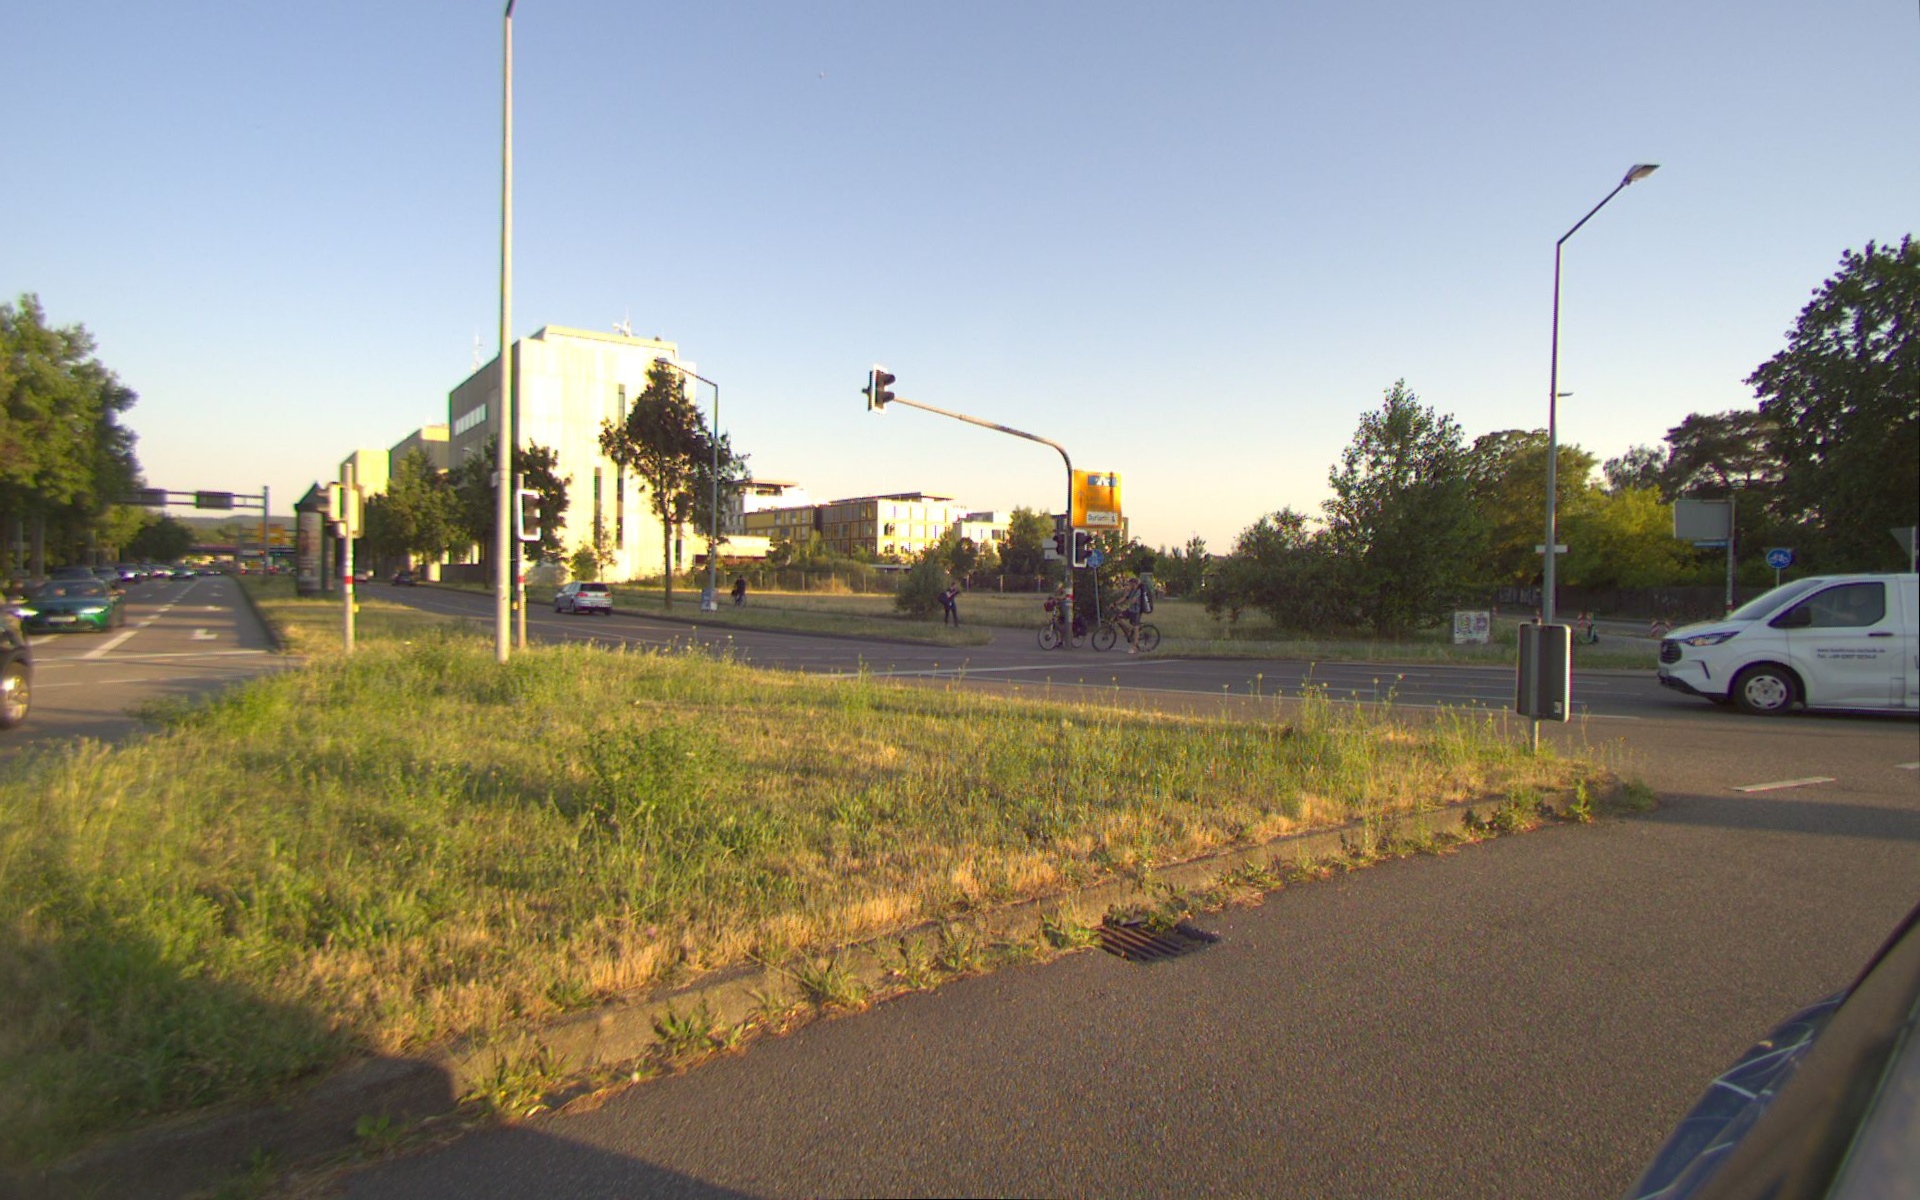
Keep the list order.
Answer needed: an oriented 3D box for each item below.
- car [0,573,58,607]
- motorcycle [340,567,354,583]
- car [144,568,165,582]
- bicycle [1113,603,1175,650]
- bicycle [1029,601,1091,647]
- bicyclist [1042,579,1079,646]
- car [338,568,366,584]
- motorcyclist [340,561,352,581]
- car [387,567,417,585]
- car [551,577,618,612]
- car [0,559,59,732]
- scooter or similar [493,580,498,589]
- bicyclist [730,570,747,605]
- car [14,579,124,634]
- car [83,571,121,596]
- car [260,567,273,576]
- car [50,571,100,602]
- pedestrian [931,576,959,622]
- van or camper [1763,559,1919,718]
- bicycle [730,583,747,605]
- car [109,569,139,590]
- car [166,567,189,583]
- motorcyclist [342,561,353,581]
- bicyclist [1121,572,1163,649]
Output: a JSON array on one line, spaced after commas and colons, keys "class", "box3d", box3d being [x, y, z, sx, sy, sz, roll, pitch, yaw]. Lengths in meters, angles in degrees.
[{"class": "car", "box3d": [-37.982, -0.421, 41.148, 1.589, 1.325, 3.716, -1, 2, -36]}, {"class": "motorcycle", "box3d": [-44.776, -1.844, 73.917, 0.548, 1.114, 2.158, 0, 1, -39]}, {"class": "car", "box3d": [-86.331, -2.651, 108.497, 1.589, 1.471, 3.716, -1, 2, -36]}, {"class": "bicycle", "box3d": [4.775, 0.667, 26.209, 1.894, 1.098, 0.456, -2, 2, -40]}, {"class": "bicycle", "box3d": [2.689, 0.633, 27.177, 1.894, 1.098, 0.456, -3, 3, -40]}, {"class": "bicyclist", "box3d": [2.697, 0.318, 27.153, 0.757, 1.722, 0.640, -3, 3, -40]}, {"class": "car", "box3d": [-58.647, -2.312, 97.600, 1.770, 1.440, 4.447, 1, 1, -37]}, {"class": "motorcyclist", "box3d": [-45.017, -2.136, 74.208, 0.676, 1.434, 0.714, 0, 1, -39]}, {"class": "car", "box3d": [-50.337, -2.166, 91.298, 1.770, 1.482, 3.998, 1, 1, -37]}, {"class": "car", "box3d": [-16.973, -0.279, 45.631, 1.857, 1.499, 4.051, 0, 1, -35]}, {"class": "car", "box3d": [-9.499, 0.459, 8.389, 1.686, 1.633, 4.145, -1, 1, -21]}, {"class": "scooter or similar", "box3d": [-46.362, -1.537, 100.959, 0.242, 0.925, 1.039, 1, 1, -37]}, {"class": "bicyclist", "box3d": [-11.422, -0.634, 52.261, 0.527, 1.765, 0.843, 1, 1, -38]}, {"class": "car", "box3d": [-23.926, 0.121, 27.306, 1.841, 1.325, 4.138, -1, 2, -36]}, {"class": "car", "box3d": [-55.281, -1.091, 65.237, 1.589, 1.537, 3.716, -1, 2, -36]}, {"class": "car", "box3d": [-127.072, -5.191, 185.470, 1.785, 1.544, 4.133, 1, 1, -38]}, {"class": "car", "box3d": [-45.255, -0.717, 51.821, 1.589, 1.537, 3.716, -1, 2, -36]}, {"class": "pedestrian", "box3d": [-0.510, -0.036, 34.715, 0.782, 1.569, 0.567, 0, 1, -37]}, {"class": "van or camper", "box3d": [13.841, 0.503, 12.897, 5.273, 1.982, 1.983, 1, 1, 25]}, {"class": "bicycle", "box3d": [-11.432, -0.316, 52.265, 0.275, 1.102, 1.372, 1, 1, -37]}, {"class": "car", "box3d": [-65.833, -1.629, 79.758, 1.589, 1.537, 3.716, -1, 2, -36]}, {"class": "car", "box3d": [-74.033, -2.408, 95.752, 1.589, 1.471, 3.716, -1, 2, -36]}, {"class": "motorcyclist", "box3d": [-44.600, -2.128, 73.706, 0.625, 1.426, 0.593, 0, 1, -39]}, {"class": "bicyclist", "box3d": [4.711, 0.250, 26.173, 0.894, 1.921, 0.640, -2, 2, -40]}]
